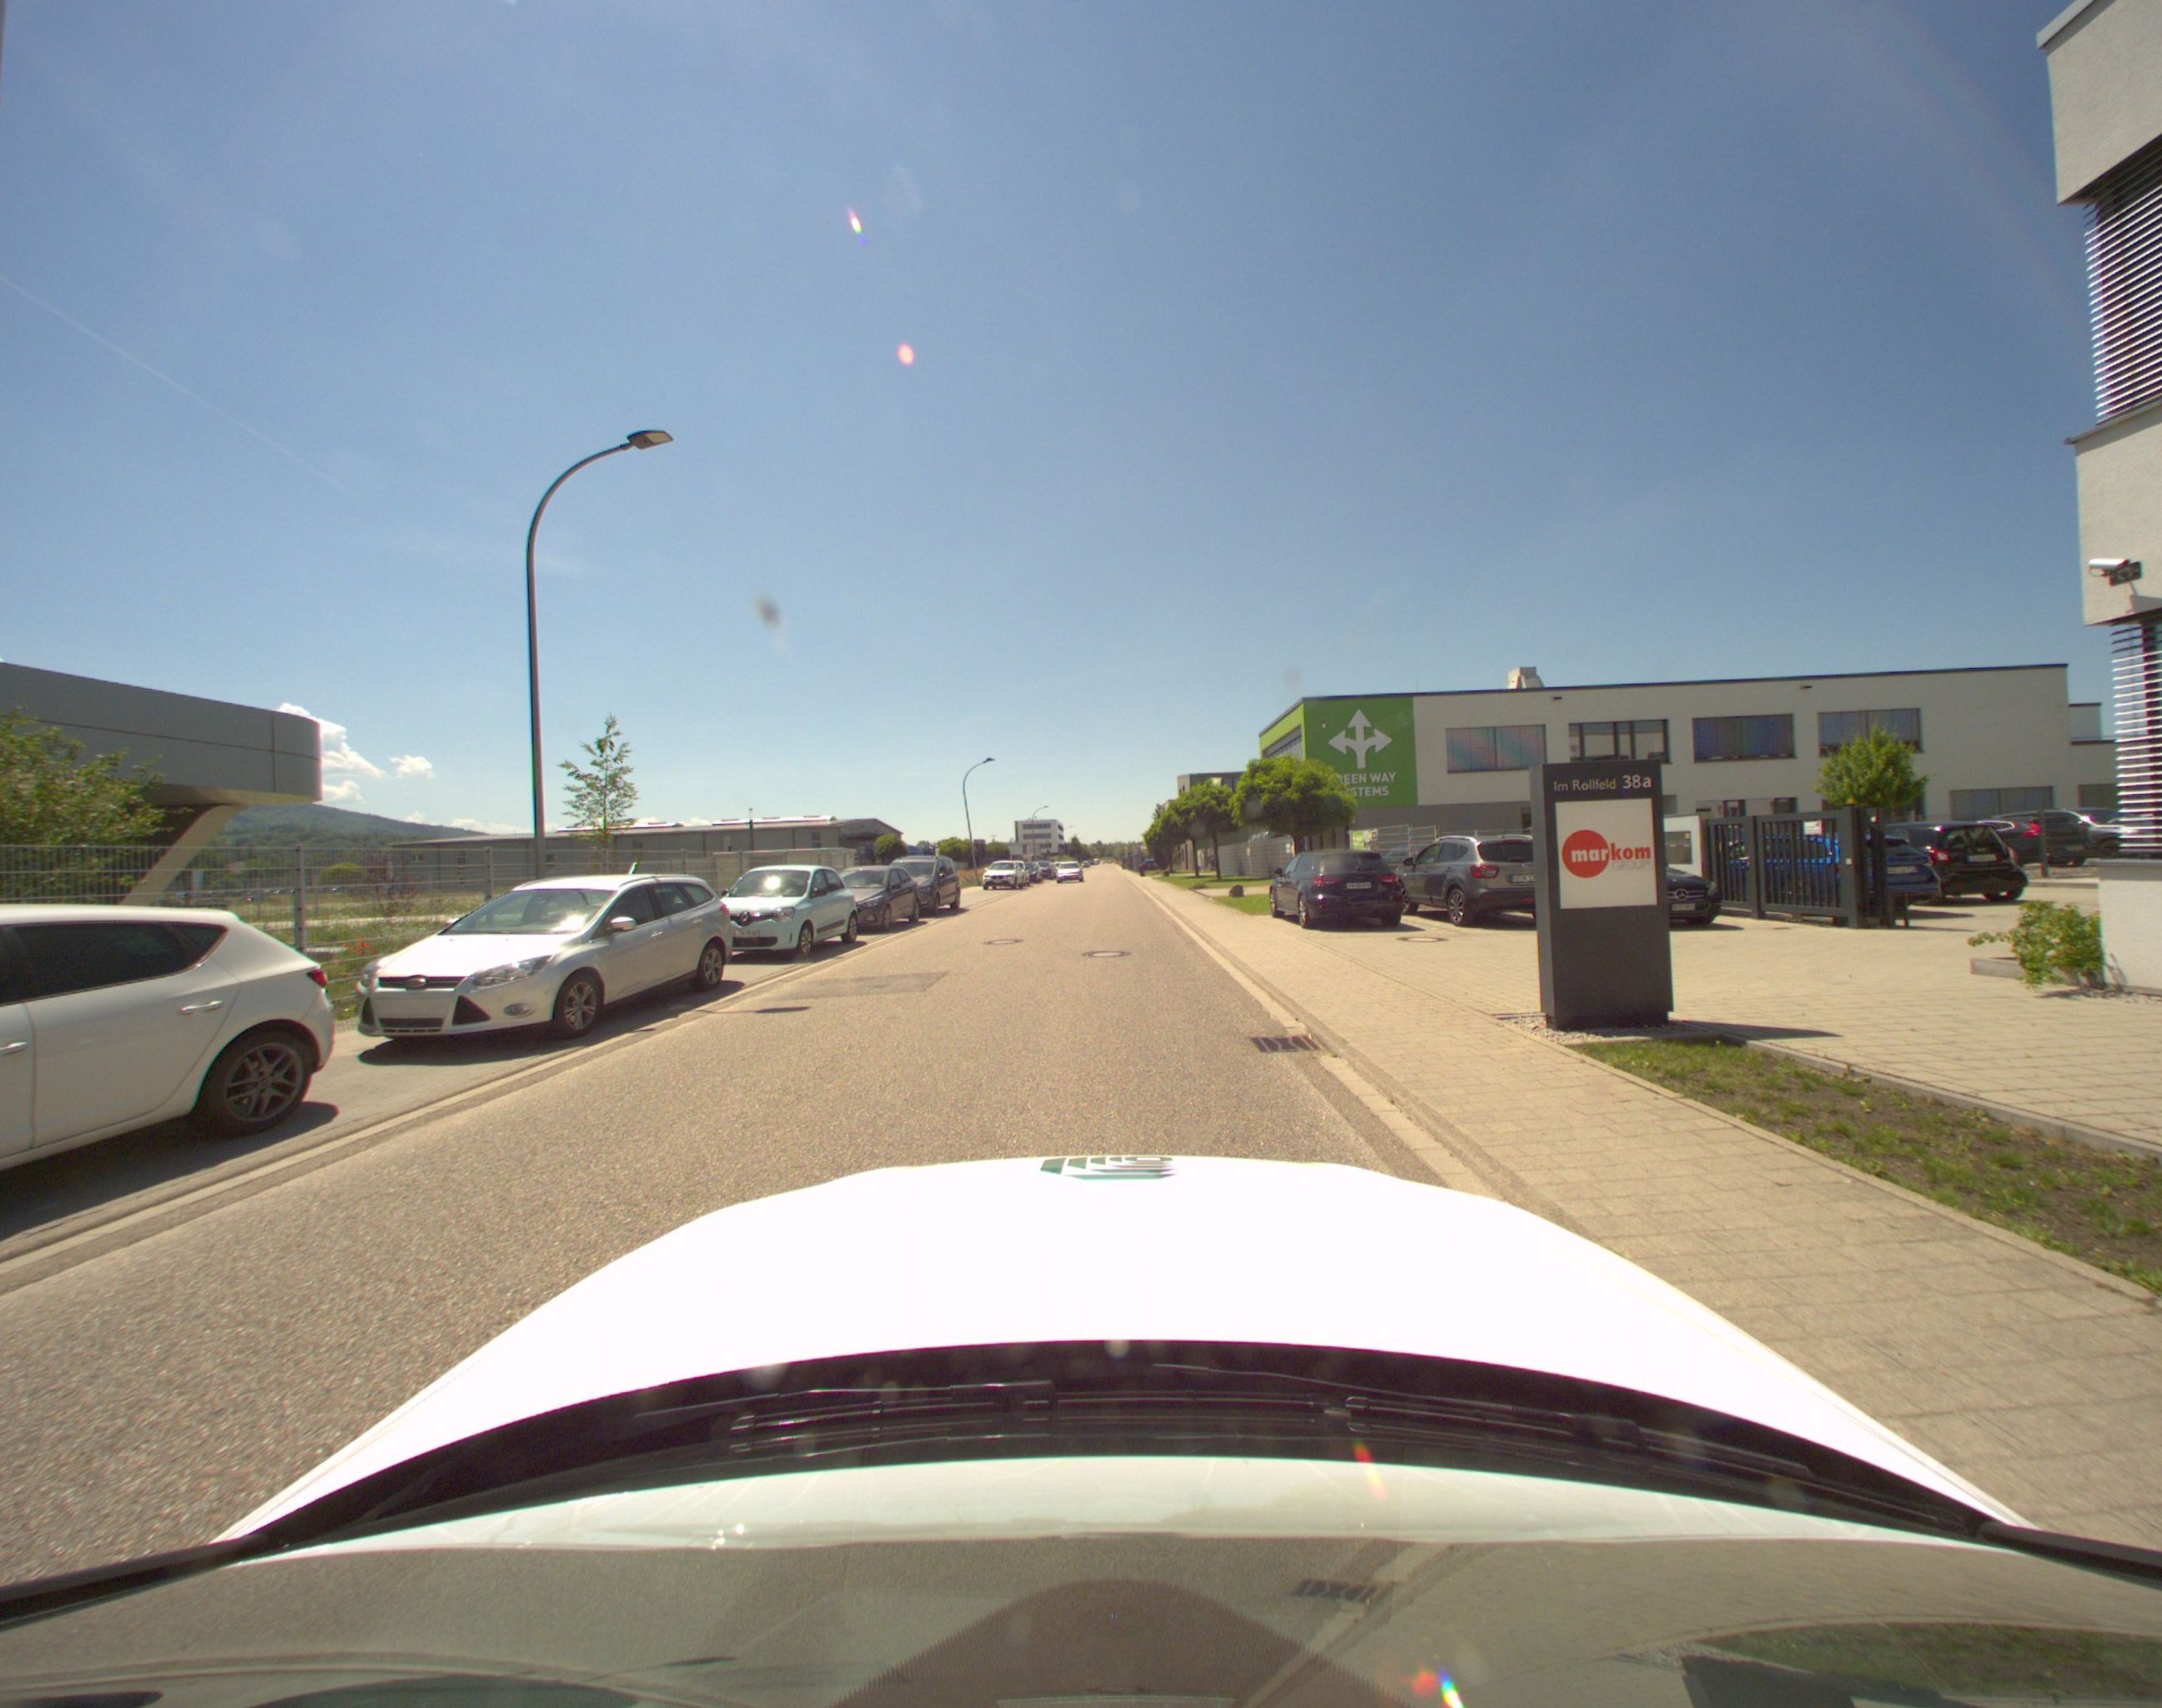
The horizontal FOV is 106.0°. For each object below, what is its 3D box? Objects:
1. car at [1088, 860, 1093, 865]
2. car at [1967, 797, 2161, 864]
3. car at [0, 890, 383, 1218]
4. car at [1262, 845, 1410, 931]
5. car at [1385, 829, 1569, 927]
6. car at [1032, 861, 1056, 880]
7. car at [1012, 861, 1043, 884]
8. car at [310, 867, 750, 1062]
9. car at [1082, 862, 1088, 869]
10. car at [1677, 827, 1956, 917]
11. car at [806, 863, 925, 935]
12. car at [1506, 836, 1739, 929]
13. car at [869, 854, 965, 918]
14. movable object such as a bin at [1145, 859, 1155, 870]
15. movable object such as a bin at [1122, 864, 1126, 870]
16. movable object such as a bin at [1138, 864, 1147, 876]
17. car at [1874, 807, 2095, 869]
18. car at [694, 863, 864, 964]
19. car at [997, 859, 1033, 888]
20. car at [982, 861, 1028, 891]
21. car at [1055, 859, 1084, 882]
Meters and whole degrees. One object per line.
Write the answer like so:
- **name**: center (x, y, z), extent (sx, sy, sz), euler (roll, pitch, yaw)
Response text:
- **car**: center (2.974, 2.809, 256.876), extent (1.638, 1.490, 3.209), euler (-2, -1, 2)
- **car**: center (28.143, -0.601, 23.030), extent (1.732, 1.605, 4.055), euler (-2, -2, 1)
- **car**: center (-5.883, 0.982, 3.597), extent (1.697, 1.444, 4.440), euler (-1, 0, 1)
- **car**: center (4.845, 0.591, 16.083), extent (1.686, 1.428, 4.248), euler (-1, 0, 2)
- **car**: center (7.512, 0.418, 15.925), extent (1.716, 1.633, 4.024), euler (-1, 0, 2)
- **car**: center (-3.183, 1.400, 70.892), extent (1.784, 1.607, 4.463), euler (-1, -1, 1)
- **car**: center (-3.725, 1.289, 57.025), extent (1.756, 1.517, 4.381), euler (-1, -1, 1)
- **car**: center (-5.527, 0.961, 9.070), extent (1.697, 1.536, 4.573), euler (-1, 0, 1)
- **car**: center (1.014, 2.818, 201.899), extent (1.461, 1.490, 3.209), euler (-2, -1, 2)
- **car**: center (13.588, 0.309, 15.435), extent (1.716, 1.436, 4.024), euler (-1, 0, 2)
- **car**: center (-5.066, 1.001, 19.677), extent (1.628, 1.500, 3.974), euler (-1, 0, 3)
- **car**: center (9.727, 0.461, 15.063), extent (1.716, 1.449, 4.024), euler (-1, 0, 2)
- **car**: center (-4.816, 0.900, 24.613), extent (1.796, 1.719, 4.624), euler (-1, 0, 2)
- **movable object such as a bin**: center (9.493, 1.499, 111.899), extent (1.329, 1.459, 0.949), euler (-3, -1, 1)
- **movable object such as a bin**: center (8.149, 2.464, 153.724), extent (0.549, 0.928, 0.523), euler (-7, 0, 6)
- **movable object such as a bin**: center (4.937, 1.303, 65.346), extent (0.548, 0.928, 0.523), euler (-6, -2, 11)
- **car**: center (25.193, -0.377, 22.959), extent (1.732, 1.430, 4.055), euler (-2, -2, 1)
- **car**: center (-5.279, 0.963, 14.757), extent (1.629, 1.536, 3.658), euler (-1, 0, 1)
- **car**: center (-4.035, 1.171, 50.239), extent (1.781, 1.656, 3.769), euler (-2, -1, 1)
- **car**: center (-4.118, 1.165, 44.817), extent (1.779, 1.542, 4.368), euler (-2, -1, 4)
- **car**: center (-0.745, 1.108, 56.458), extent (1.698, 1.411, 4.786), euler (-4, 0, 2)
